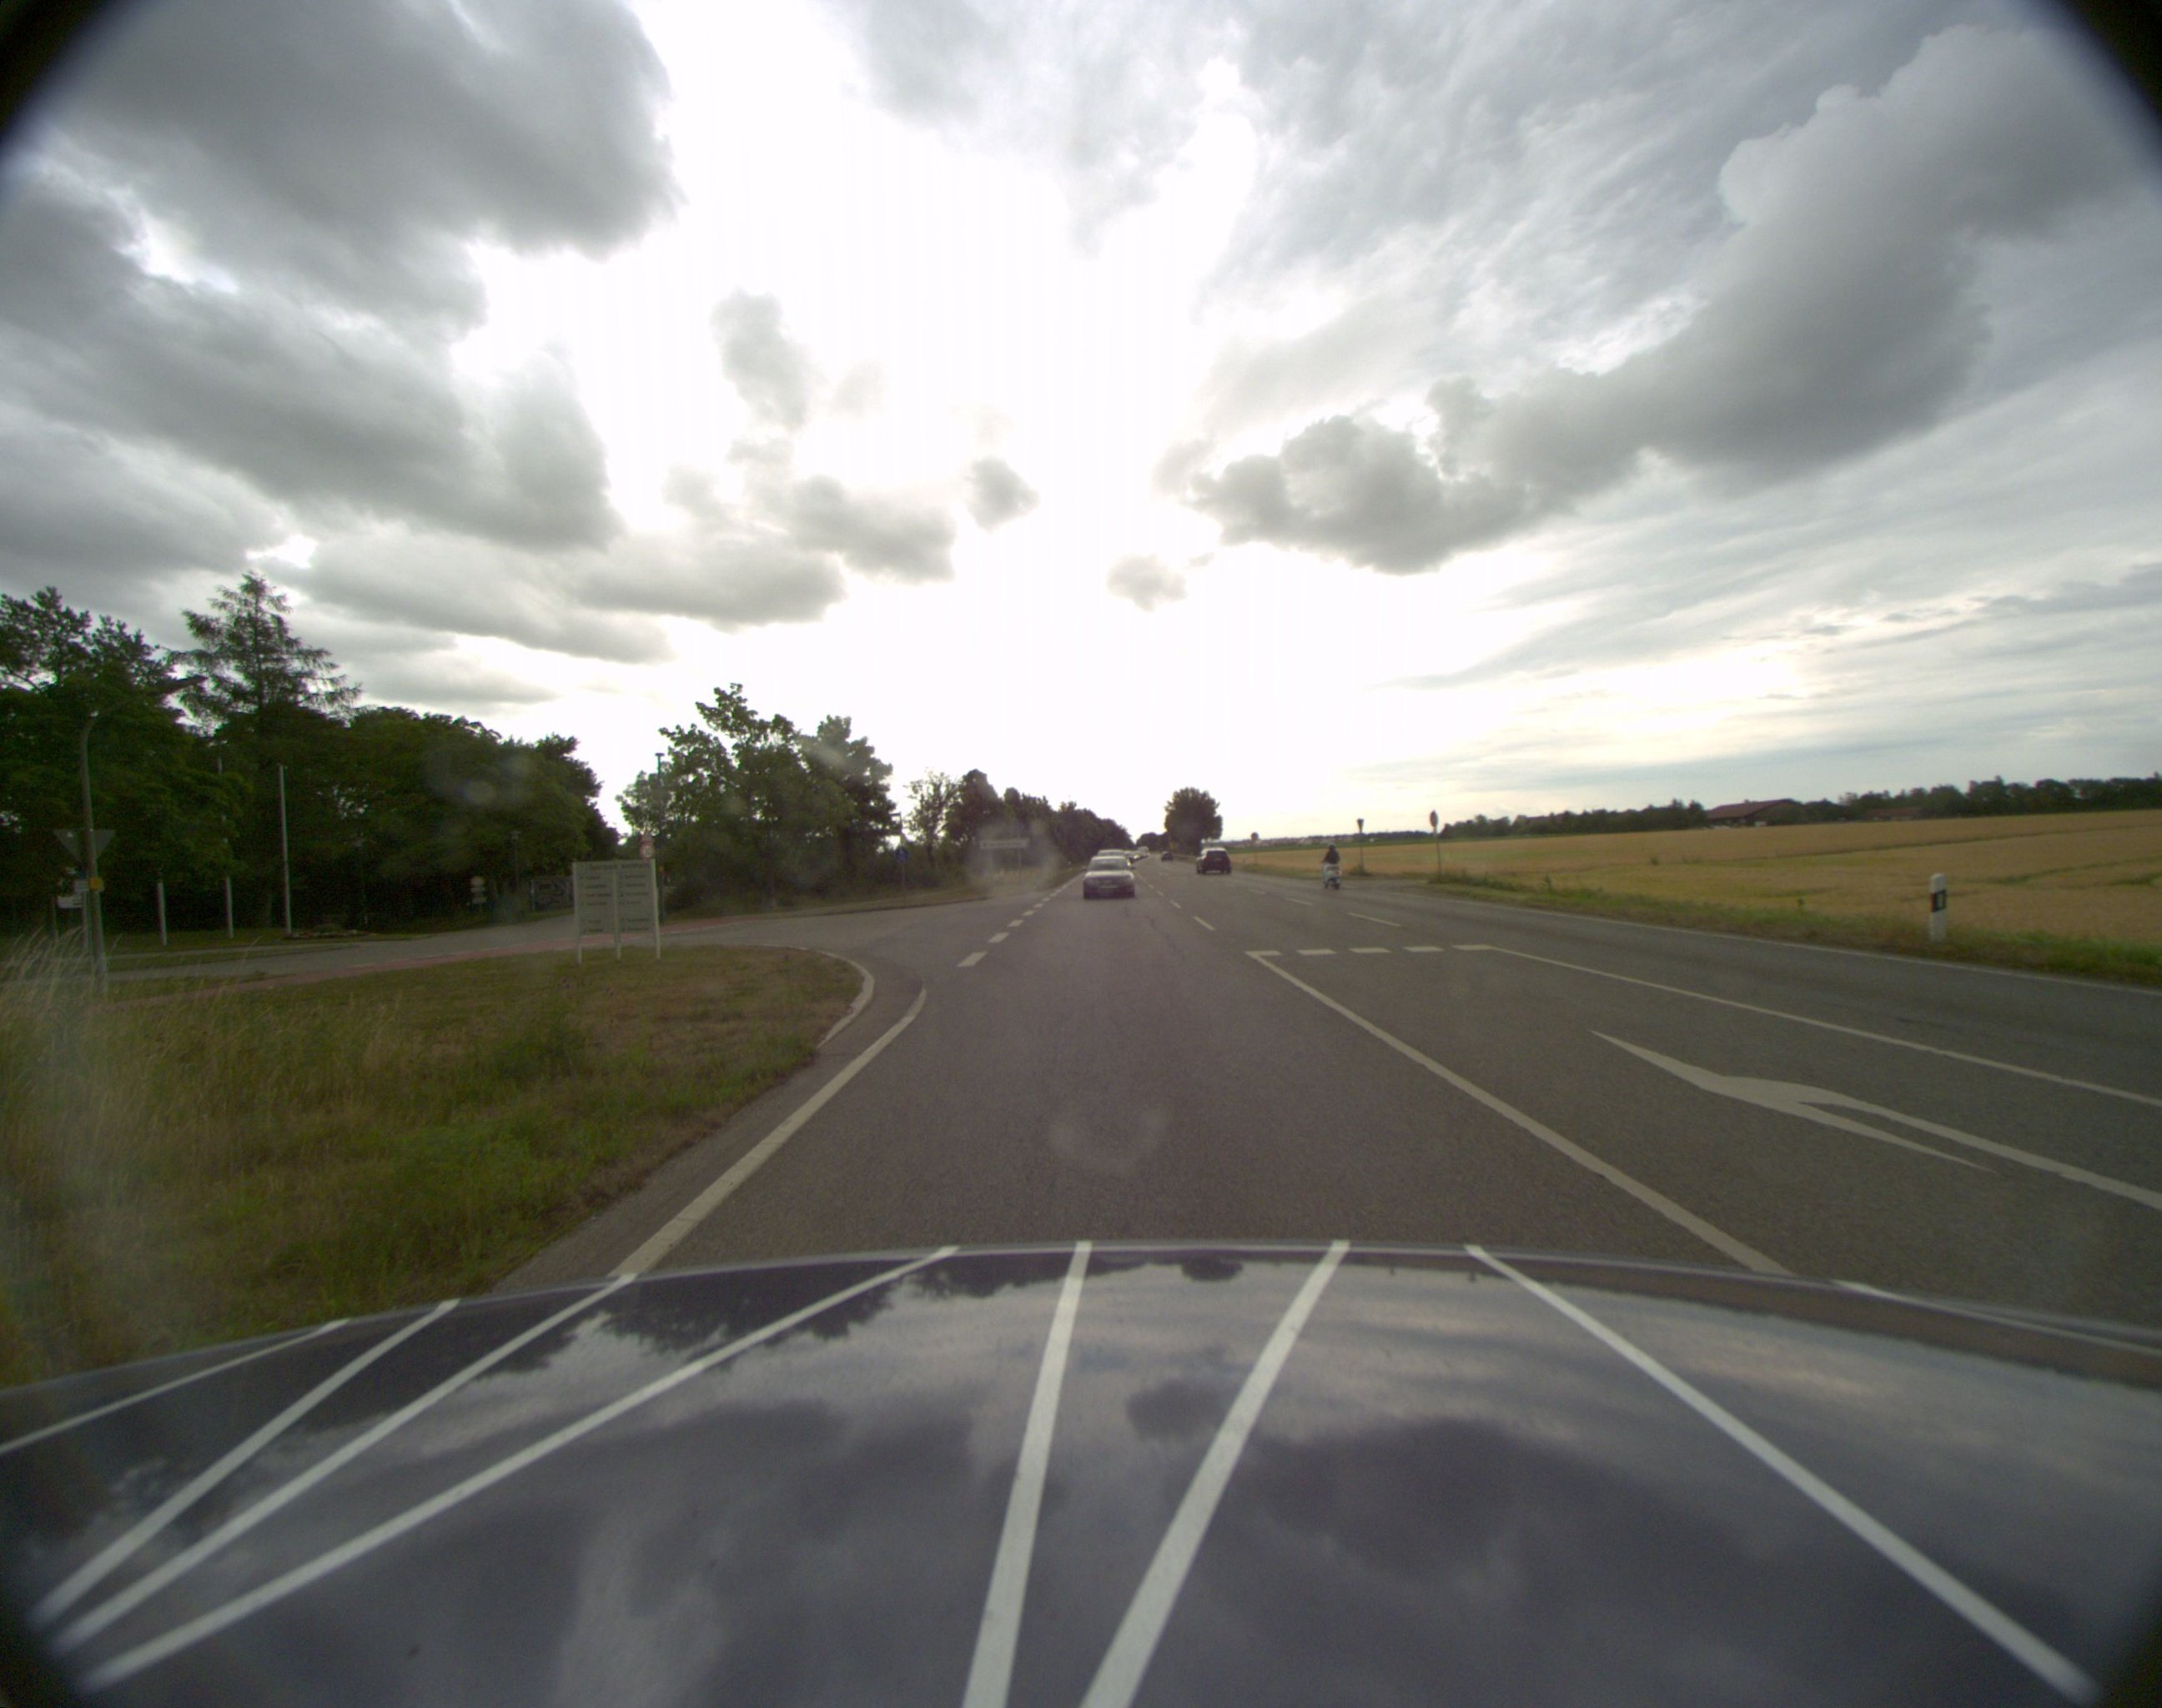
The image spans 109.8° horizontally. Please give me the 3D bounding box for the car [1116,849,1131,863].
[{"bbox_3d":[5.183,0.190,92.399,1.793,1.573,4.368,-2,0,4],"label":"car"}]

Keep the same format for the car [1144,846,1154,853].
[{"bbox_3d":[15.970,-1.039,178.289,1.792,1.531,4.139,-2,0,10],"label":"car"}]

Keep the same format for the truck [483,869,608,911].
[{"bbox_3d":[-46.695,3.089,66.609,8.383,3.092,3.067,-3,1,-25],"label":"truck"}]

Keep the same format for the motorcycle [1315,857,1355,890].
[{"bbox_3d":[9.301,0.701,27.902,0.727,1.142,2.024,-2,0,0],"label":"motorcycle"}]

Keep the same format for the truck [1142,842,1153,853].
[{"bbox_3d":[17.155,-1.767,195.981,2.319,2.749,7.676,-2,1,7],"label":"truck"}]

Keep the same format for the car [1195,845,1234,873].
[{"bbox_3d":[8.714,0.278,50.069,1.951,1.684,4.446,-2,1,3],"label":"car"}]

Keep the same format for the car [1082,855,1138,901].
[{"bbox_3d":[1.058,0.799,27.254,1.793,1.415,4.368,-2,0,3],"label":"car"}]

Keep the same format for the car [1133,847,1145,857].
[{"bbox_3d":[10.631,-0.378,138.740,1.792,1.573,4.139,-2,0,8],"label":"car"}]

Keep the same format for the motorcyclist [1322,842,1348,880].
[{"bbox_3d":[9.280,0.247,27.801,0.641,1.376,0.809,-2,1,0],"label":"motorcyclist"}]

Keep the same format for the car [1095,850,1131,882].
[{"bbox_3d":[1.758,0.601,40.982,1.793,1.573,4.368,-2,0,3],"label":"car"}]

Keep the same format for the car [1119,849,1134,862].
[{"bbox_3d":[6.113,0.161,101.797,1.793,1.573,4.188,-2,0,4],"label":"car"}]

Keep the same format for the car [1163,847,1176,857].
[{"bbox_3d":[13.741,-0.318,117.554,1.997,1.501,4.002,-1,1,7],"label":"car"}]
